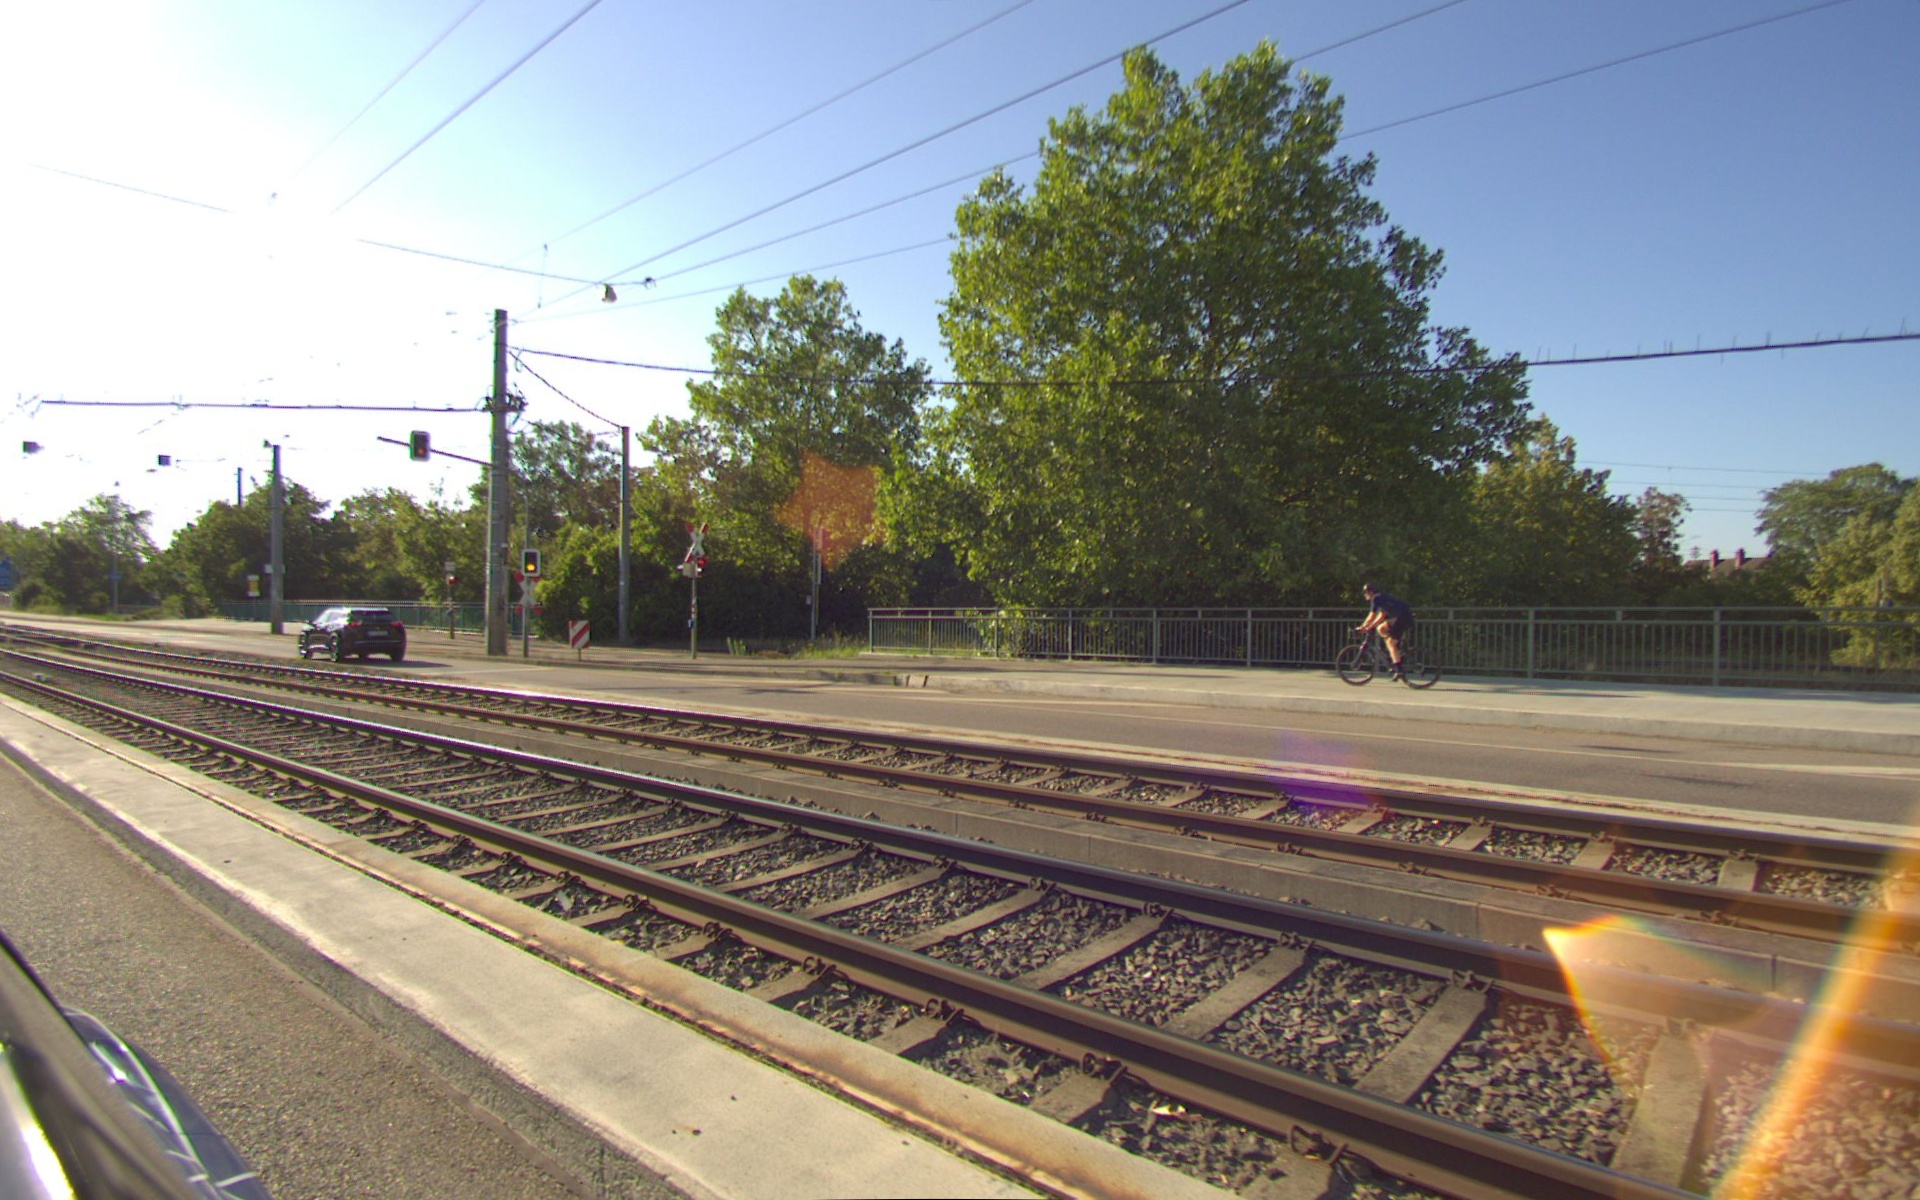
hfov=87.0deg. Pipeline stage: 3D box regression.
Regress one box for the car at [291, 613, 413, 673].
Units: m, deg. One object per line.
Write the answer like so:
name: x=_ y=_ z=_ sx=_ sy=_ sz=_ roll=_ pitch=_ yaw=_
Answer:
car: x=-17.549 y=1.181 z=29.146 sx=4.217 sy=1.513 sz=1.829 roll=0 pitch=1 yaw=41

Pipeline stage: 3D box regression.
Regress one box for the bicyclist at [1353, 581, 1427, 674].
bicyclist: x=6.925 y=0.424 z=16.308 sx=0.968 sy=1.443 sz=0.618 roll=0 pitch=1 yaw=42

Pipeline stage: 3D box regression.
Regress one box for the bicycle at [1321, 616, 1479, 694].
bicycle: x=7.017 y=0.845 z=16.230 sx=2.259 sy=1.131 sz=0.618 roll=0 pitch=1 yaw=42
